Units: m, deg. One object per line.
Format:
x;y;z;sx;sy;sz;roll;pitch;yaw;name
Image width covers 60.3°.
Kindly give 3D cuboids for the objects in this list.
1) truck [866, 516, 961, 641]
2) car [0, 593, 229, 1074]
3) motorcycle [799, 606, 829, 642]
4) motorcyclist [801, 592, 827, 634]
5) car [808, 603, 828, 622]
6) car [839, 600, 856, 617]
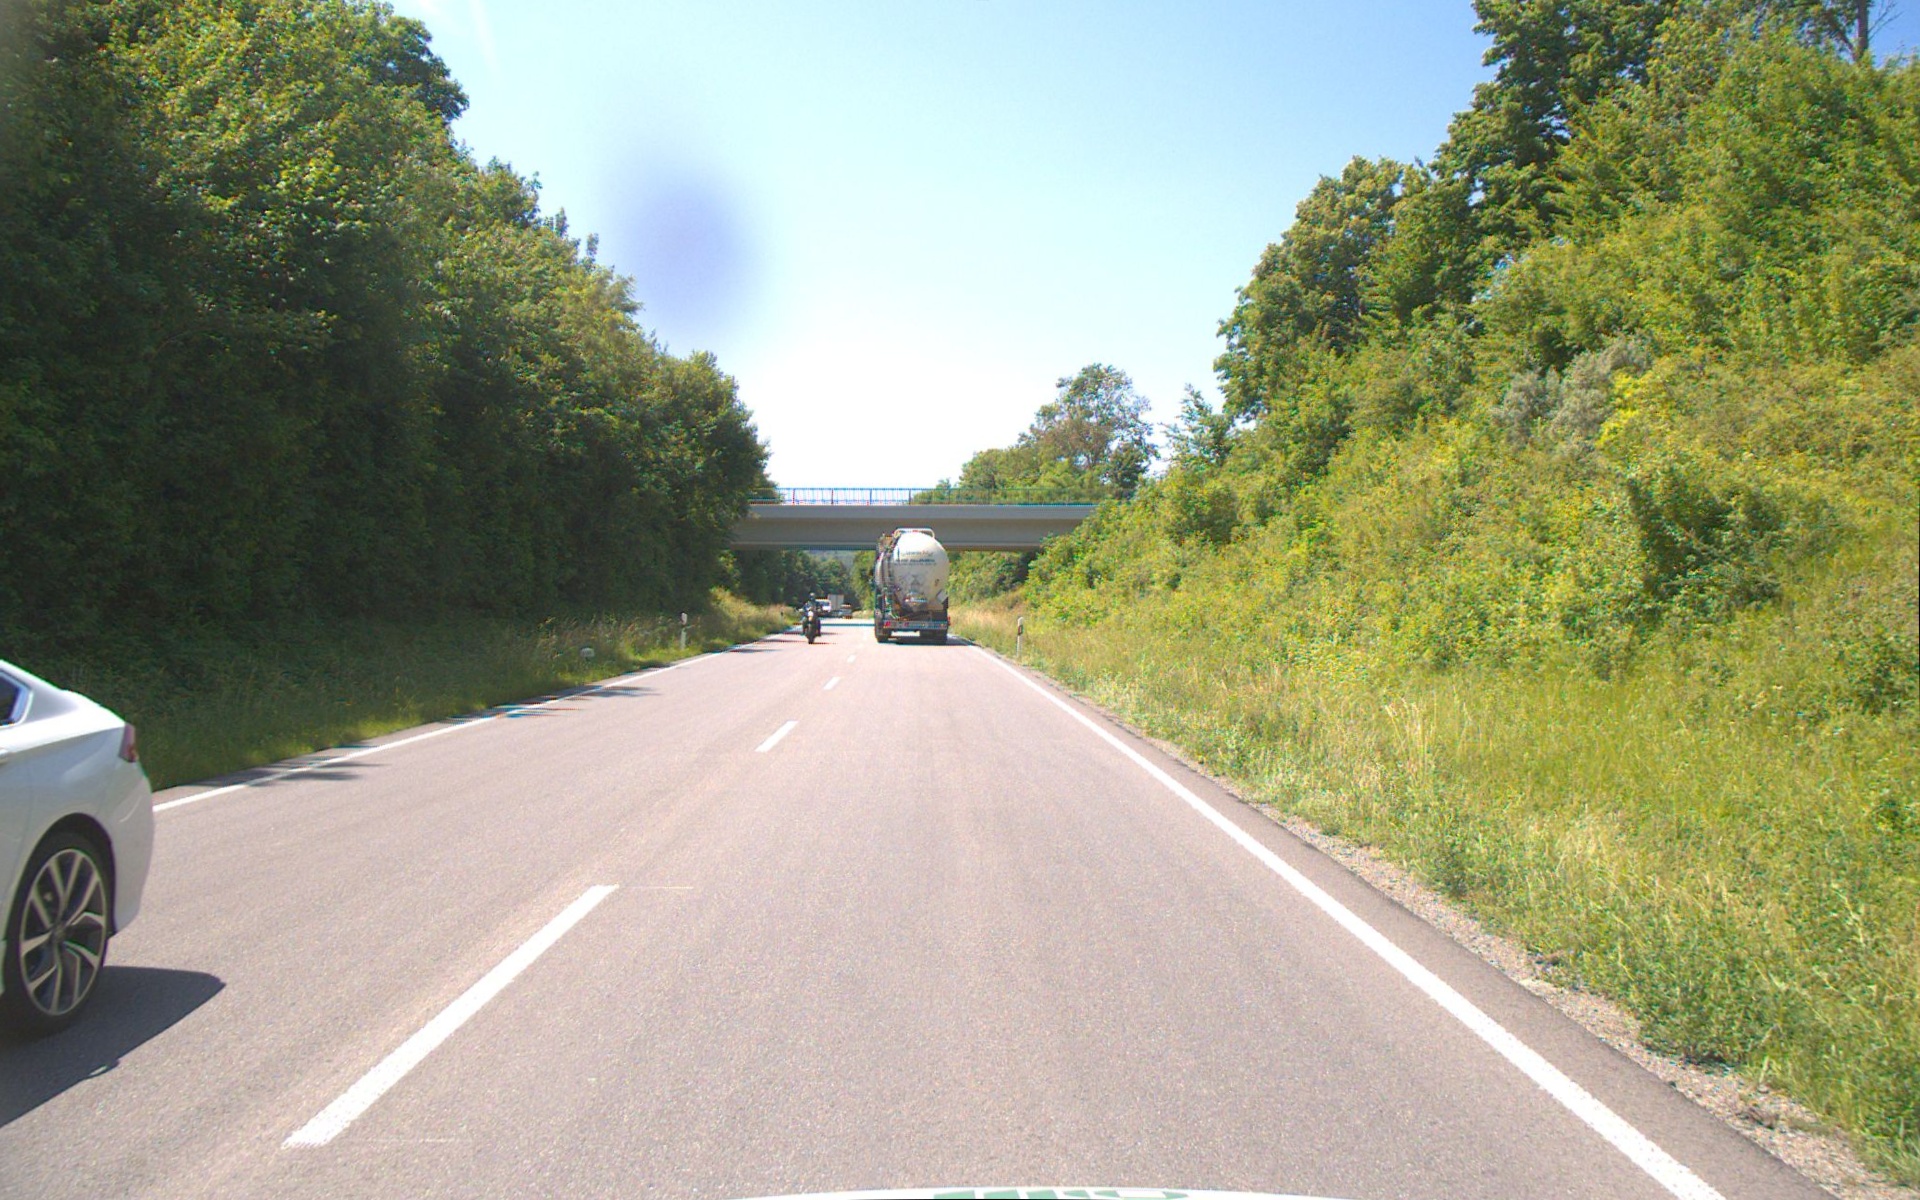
-1.958;-0.570;63.739;2.989;4.068;15.625;3;-1;-3;truck
-3.773;0.718;4.356;1.643;1.486;4.758;1;0;-1;car
-5.137;0.827;58.323;0.846;1.242;2.442;0;0;-1;motorcycle
-5.133;0.465;58.276;0.832;1.463;1.073;0;0;-1;motorcyclist
-14.677;1.266;171.705;1.893;1.939;5.323;1;0;-3;car
-14.148;1.044;207.755;1.955;2.049;3.995;1;0;-6;car
